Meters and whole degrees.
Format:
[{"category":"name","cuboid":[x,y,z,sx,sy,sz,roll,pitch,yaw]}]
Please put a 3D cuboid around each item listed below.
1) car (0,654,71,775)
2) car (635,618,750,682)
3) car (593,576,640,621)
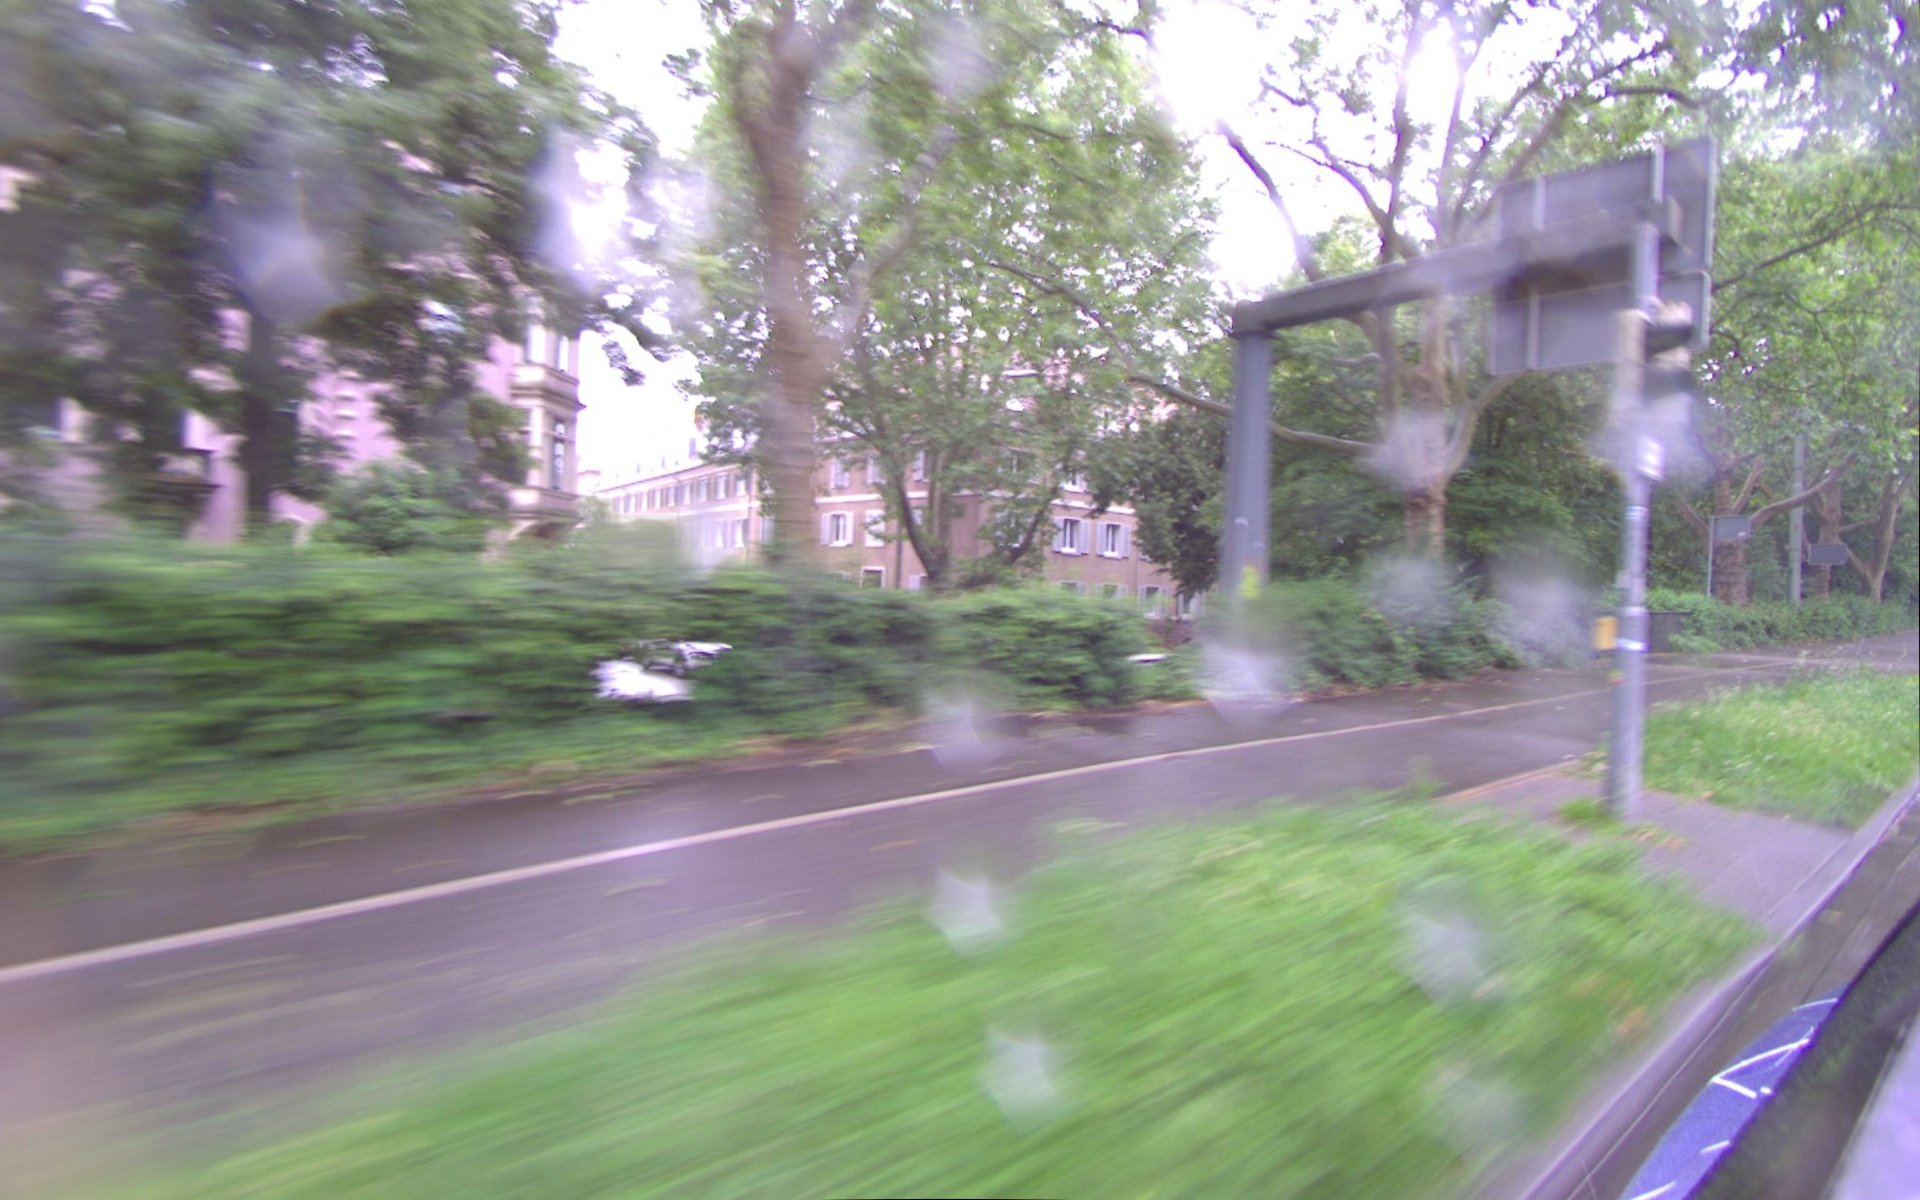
[{"category":"car","cuboid":[-14.419,1.490,13.836,3.707,1.433,1.715,3,1,17]},{"category":"car","cuboid":[-8.388,1.491,31.554,1.893,1.680,3.993,-1,2,-42]},{"category":"car","cuboid":[-21.783,-0.135,64.080,1.889,2.739,3.911,-1,2,-34]}]
